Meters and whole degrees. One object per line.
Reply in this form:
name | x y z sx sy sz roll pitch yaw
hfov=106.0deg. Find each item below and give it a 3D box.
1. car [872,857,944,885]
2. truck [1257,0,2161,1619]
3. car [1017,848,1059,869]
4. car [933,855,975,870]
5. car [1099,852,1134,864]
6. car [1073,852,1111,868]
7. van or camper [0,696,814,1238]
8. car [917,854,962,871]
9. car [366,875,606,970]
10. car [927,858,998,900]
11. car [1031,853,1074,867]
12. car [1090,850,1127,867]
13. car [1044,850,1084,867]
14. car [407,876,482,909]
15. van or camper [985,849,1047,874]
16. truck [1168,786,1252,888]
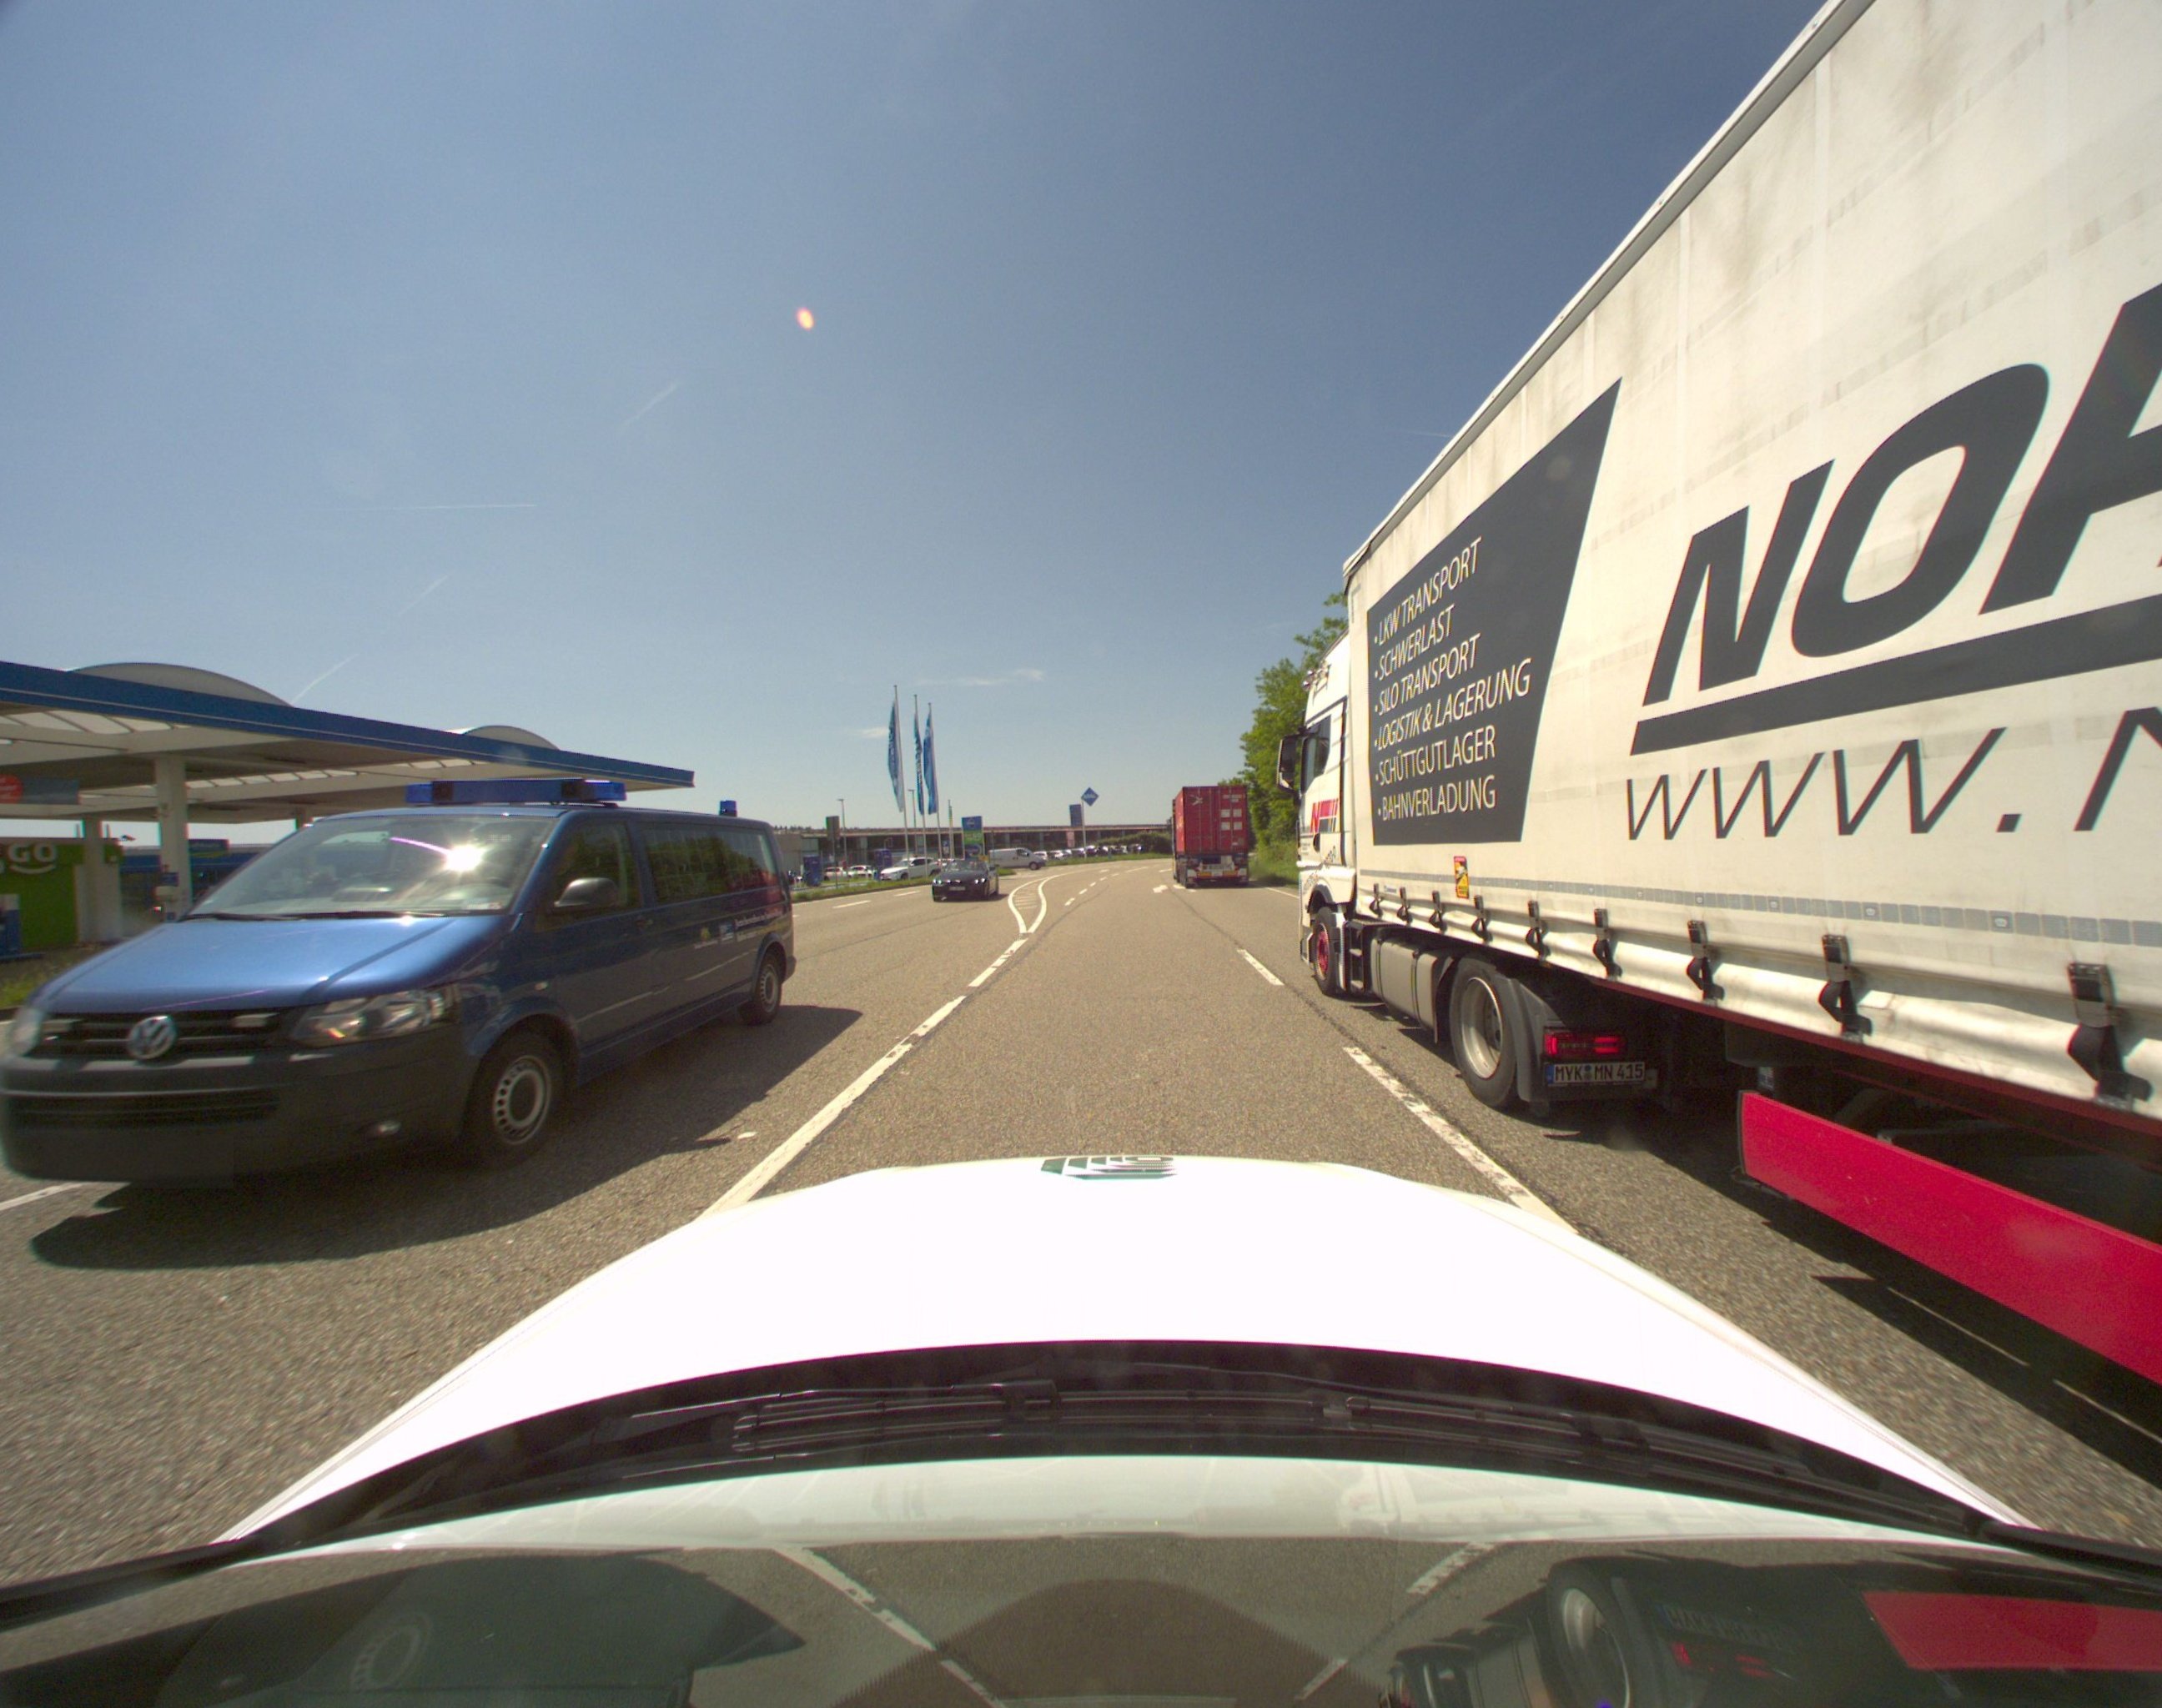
car | -11.321 1.107 53.560 1.844 1.712 4.548 -2 -1 36
truck | 3.349 -0.725 1.431 2.961 4.094 17.645 -1 -1 3
car | -4.588 0.482 87.351 3.949 2.013 2.013 -2 0 30
car | -14.083 0.941 90.284 4.084 1.503 2.013 -3 0 29
car | 4.458 0.494 102.868 3.949 1.317 1.845 -3 0 29
car | 1.264 0.732 95.981 3.948 1.750 2.013 -2 -1 32
van or camper | -3.723 0.451 5.936 1.831 2.138 5.340 -1 0 -1
car | -15.374 0.942 88.463 4.535 1.503 2.013 -3 0 29
car | -13.235 1.427 18.563 1.820 1.719 4.574 -2 0 4
car | -3.963 0.829 27.882 1.843 1.271 4.174 -1 -1 -1
car | -3.145 0.672 89.284 4.196 1.359 2.012 -2 -1 30
car | 3.402 0.553 100.654 3.948 1.750 2.013 -4 0 32
car | -1.923 0.535 92.008 3.948 1.750 1.947 -2 0 32
car | -34.220 2.092 43.742 3.948 1.607 1.959 -2 0 33
van or camper | -5.412 0.620 68.265 4.823 1.905 1.907 -1 -1 5
truck | 5.552 -0.695 37.225 2.636 3.806 13.374 0 0 4
